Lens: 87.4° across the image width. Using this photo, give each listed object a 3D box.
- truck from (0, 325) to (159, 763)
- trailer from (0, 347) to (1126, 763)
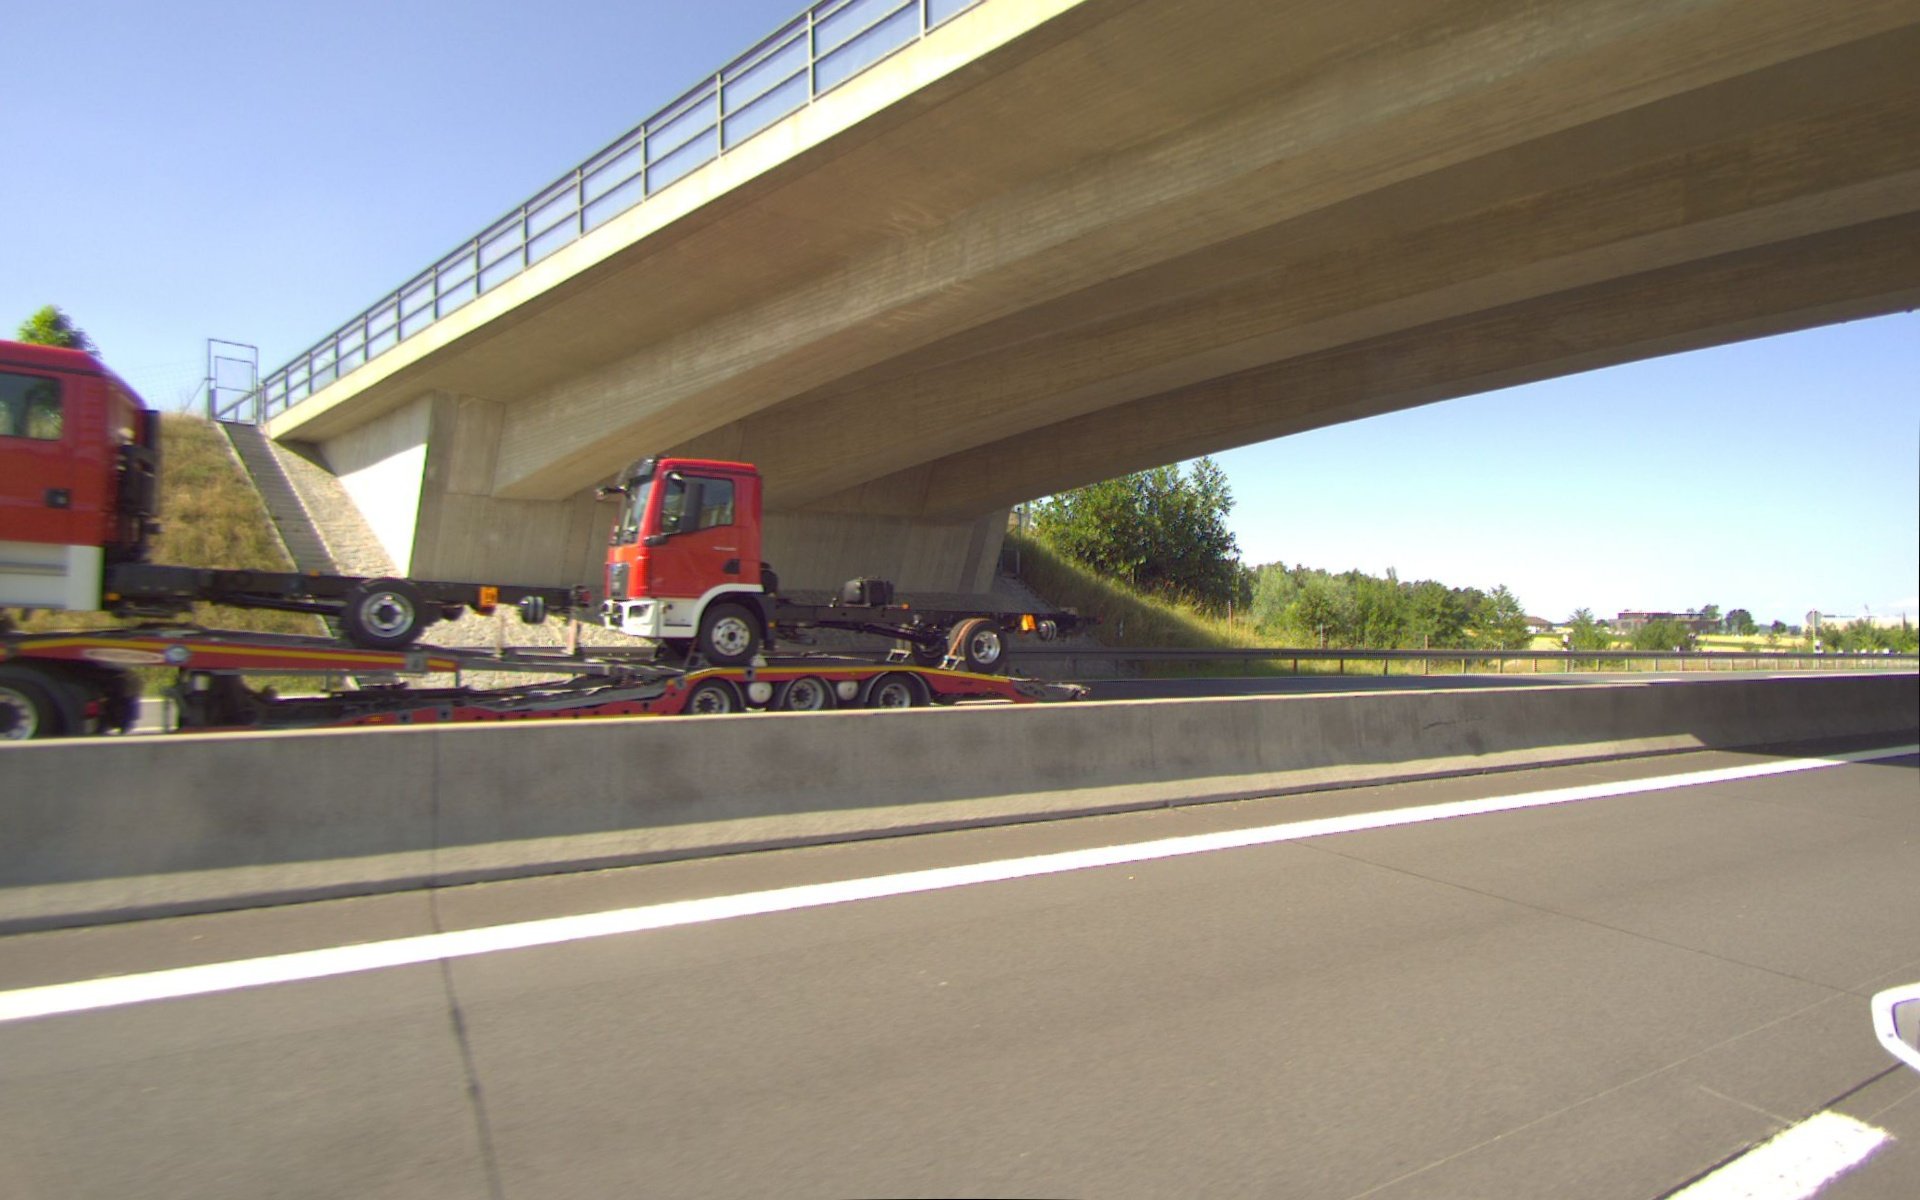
[{"bbox_3d":[-11.107,-0.539,8.946,5.763,3.882,2.722,1,-1,-30],"label":"truck"},{"bbox_3d":[-3.773,-0.246,13.263,13.080,3.706,2.652,2,-1,-30],"label":"trailer"}]
